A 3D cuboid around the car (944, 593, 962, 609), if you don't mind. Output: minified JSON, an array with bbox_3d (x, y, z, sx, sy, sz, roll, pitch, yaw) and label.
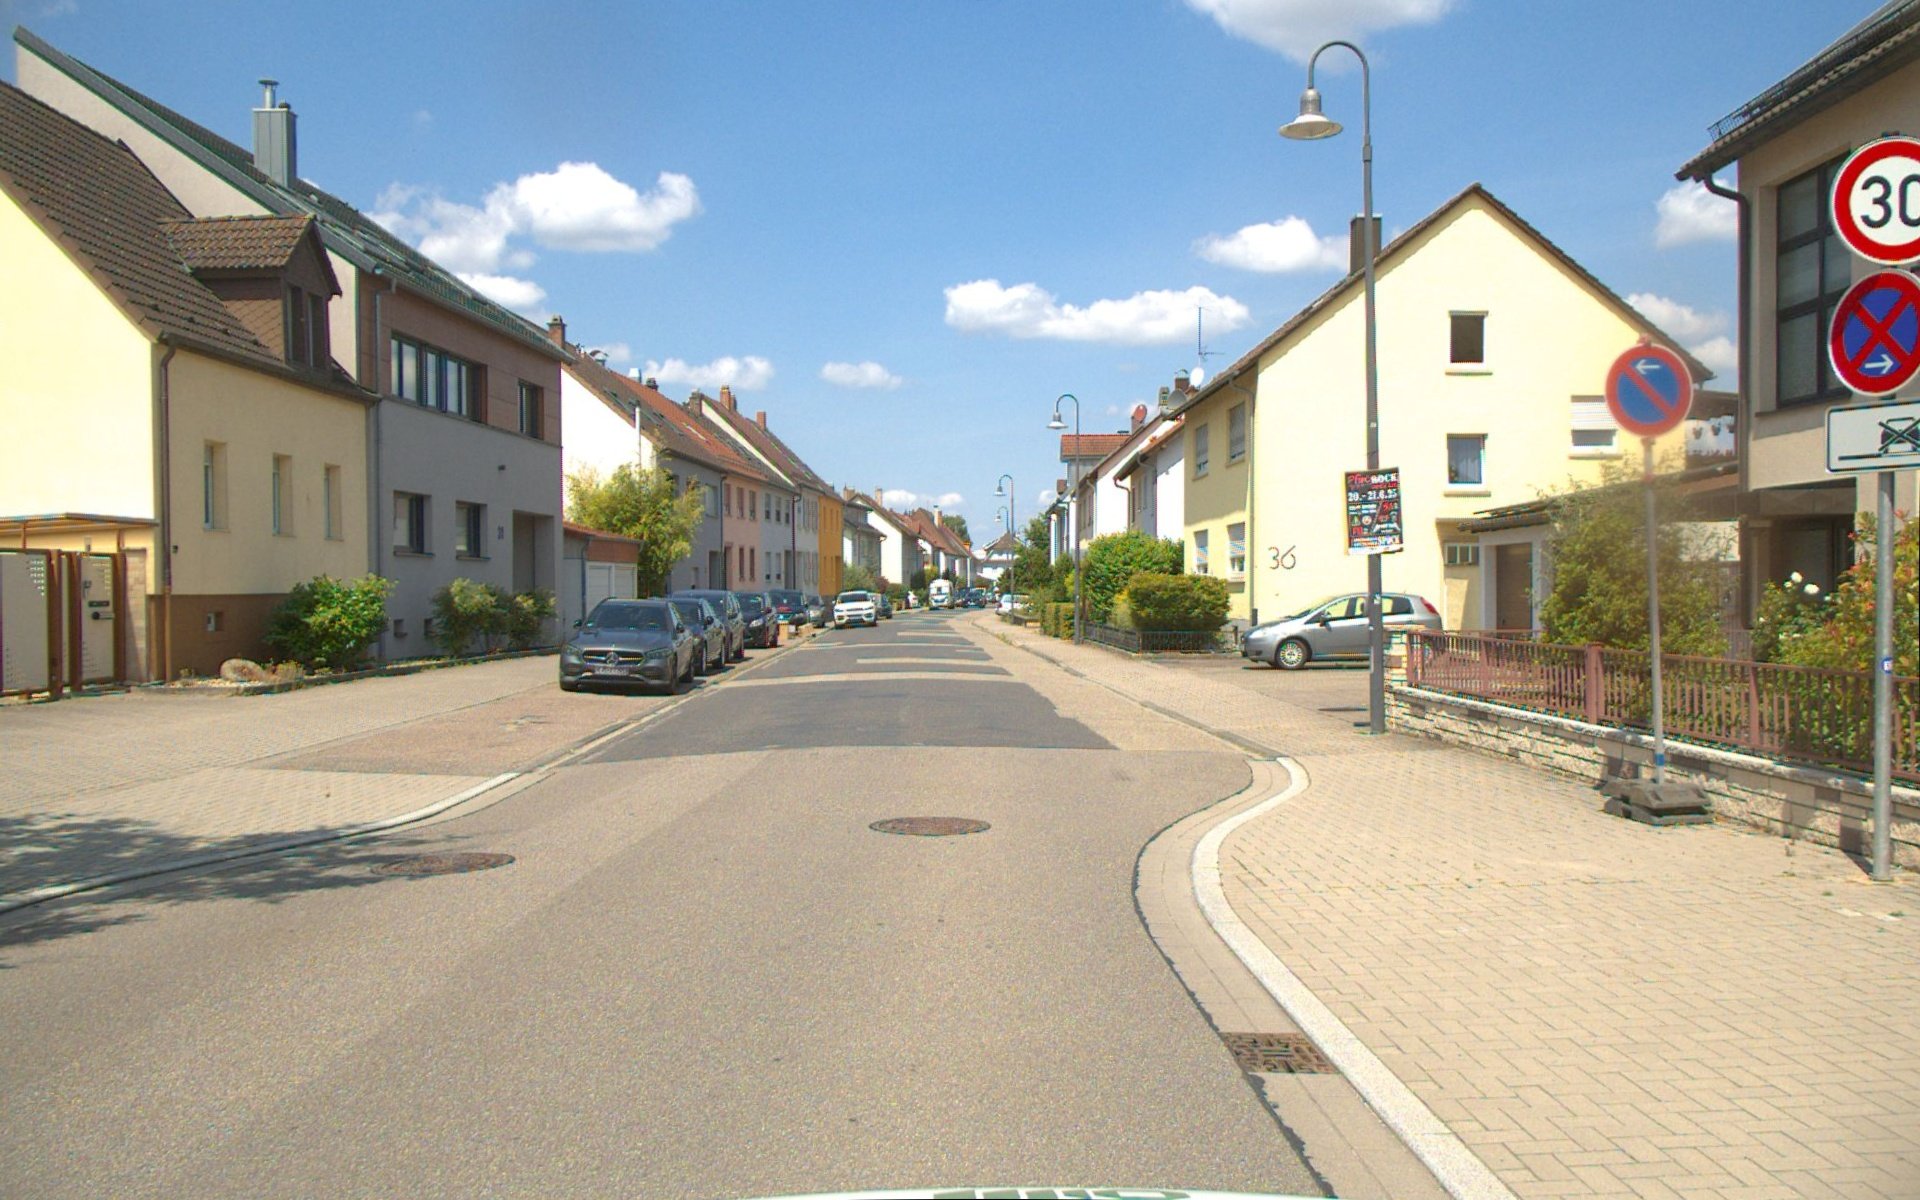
[{"bbox_3d":[-0.699,0.144,168.607,1.656,1.530,3.772,1,-1,3],"label":"car"}]

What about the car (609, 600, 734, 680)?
[{"bbox_3d":[-5.729,0.761,33.293,1.779,1.459,4.139,2,0,-1],"label":"car"}]

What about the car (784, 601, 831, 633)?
[{"bbox_3d":[-6.945,0.772,75.579,1.637,1.359,3.723,2,0,2],"label":"car"}]

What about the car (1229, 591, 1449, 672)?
[{"bbox_3d":[7.407,0.599,32.536,3.906,1.499,1.746,-1,0,-1],"label":"car"}]

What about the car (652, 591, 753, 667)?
[{"bbox_3d":[-6.014,0.651,38.960,1.743,1.637,3.999,2,0,-1],"label":"car"}]

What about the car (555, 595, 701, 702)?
[{"bbox_3d":[-5.457,0.748,27.671,1.780,1.458,4.137,3,1,-4],"label":"car"}]

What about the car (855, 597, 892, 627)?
[{"bbox_3d":[-5.121,0.691,98.339,1.811,1.688,4.001,2,0,2],"label":"car"}]

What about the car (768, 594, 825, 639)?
[{"bbox_3d":[-6.239,0.610,63.423,1.774,1.637,3.999,2,0,-1],"label":"car"}]

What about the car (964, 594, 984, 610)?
[{"bbox_3d":[1.325,0.203,150.525,1.656,1.365,3.772,1,-1,3],"label":"car"}]

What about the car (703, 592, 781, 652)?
[{"bbox_3d":[-6.370,0.631,48.637,1.743,1.637,3.999,2,0,-1],"label":"car"}]

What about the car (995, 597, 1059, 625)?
[{"bbox_3d":[3.730,0.613,92.630,3.452,1.490,1.628,1,-1,-1],"label":"car"}]

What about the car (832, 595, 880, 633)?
[{"bbox_3d":[-4.801,0.630,76.606,1.811,1.688,4.001,2,0,2],"label":"car"}]

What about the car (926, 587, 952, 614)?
[{"bbox_3d":[-1.843,0.040,146.624,2.002,2.352,3.772,1,-1,3],"label":"car"}]
